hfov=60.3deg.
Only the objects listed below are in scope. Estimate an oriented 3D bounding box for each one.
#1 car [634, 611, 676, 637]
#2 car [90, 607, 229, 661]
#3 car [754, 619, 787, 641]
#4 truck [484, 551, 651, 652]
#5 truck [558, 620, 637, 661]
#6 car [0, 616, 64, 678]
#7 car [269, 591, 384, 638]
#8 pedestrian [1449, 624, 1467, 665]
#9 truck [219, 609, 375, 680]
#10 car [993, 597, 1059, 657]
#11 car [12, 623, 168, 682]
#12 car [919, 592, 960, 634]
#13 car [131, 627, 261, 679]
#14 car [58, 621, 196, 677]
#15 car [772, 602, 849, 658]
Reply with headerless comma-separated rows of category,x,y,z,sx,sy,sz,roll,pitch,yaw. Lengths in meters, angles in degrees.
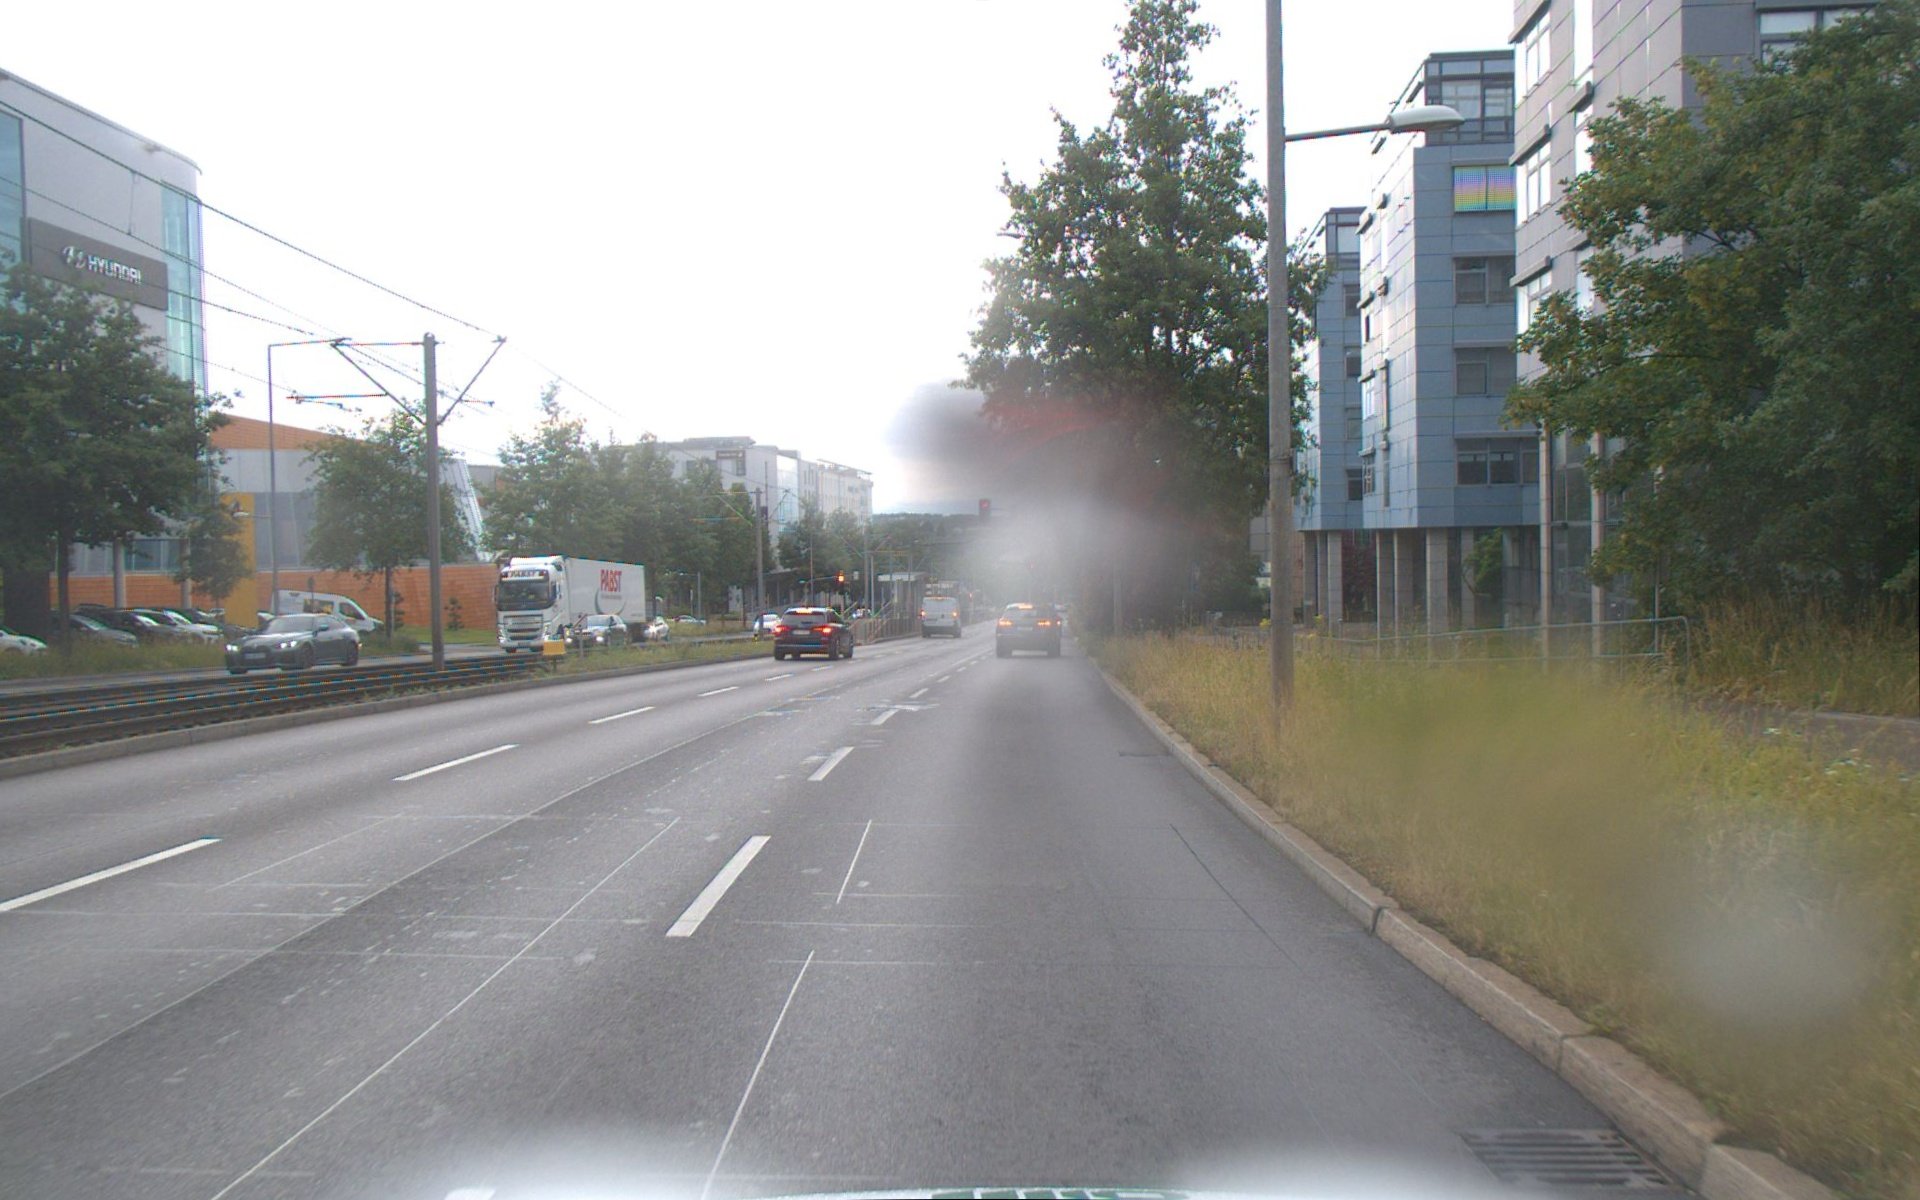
car,-18.871,1.488,102.600,1.628,1.571,3.898,0,-1,4
car,-31.850,1.337,65.904,4.510,2.011,2.018,-1,-1,-4
car,-13.078,2.073,114.371,1.628,1.467,3.897,0,-1,2
truck,-18.191,-0.007,78.450,2.978,4.254,17.209,0,0,3
truck,-15.299,1.702,69.993,1.901,1.595,4.547,-3,-1,6
car,-32.399,1.559,54.566,4.517,2.011,2.015,-1,-1,-10
car,-32.082,0.739,83.899,5.214,2.353,2.012,0,-1,-15
pedestrian,17.363,1.547,57.682,0.492,1.433,0.457,0,-1,3
truck,-16.372,1.085,41.089,1.902,1.595,4.593,-2,-1,1
car,2.019,0.810,51.869,1.883,1.740,4.098,0,1,0
car,-31.479,1.875,59.947,4.510,2.011,2.018,-1,-1,-4
car,-1.211,0.729,95.260,2.222,2.324,4.758,0,1,-2
car,-31.938,2.196,69.237,4.510,2.011,2.018,-1,-1,-4
car,-31.575,1.839,62.784,4.261,2.011,1.873,-1,-1,-4
car,-4.178,0.816,46.870,1.749,1.438,4.806,0,1,0
